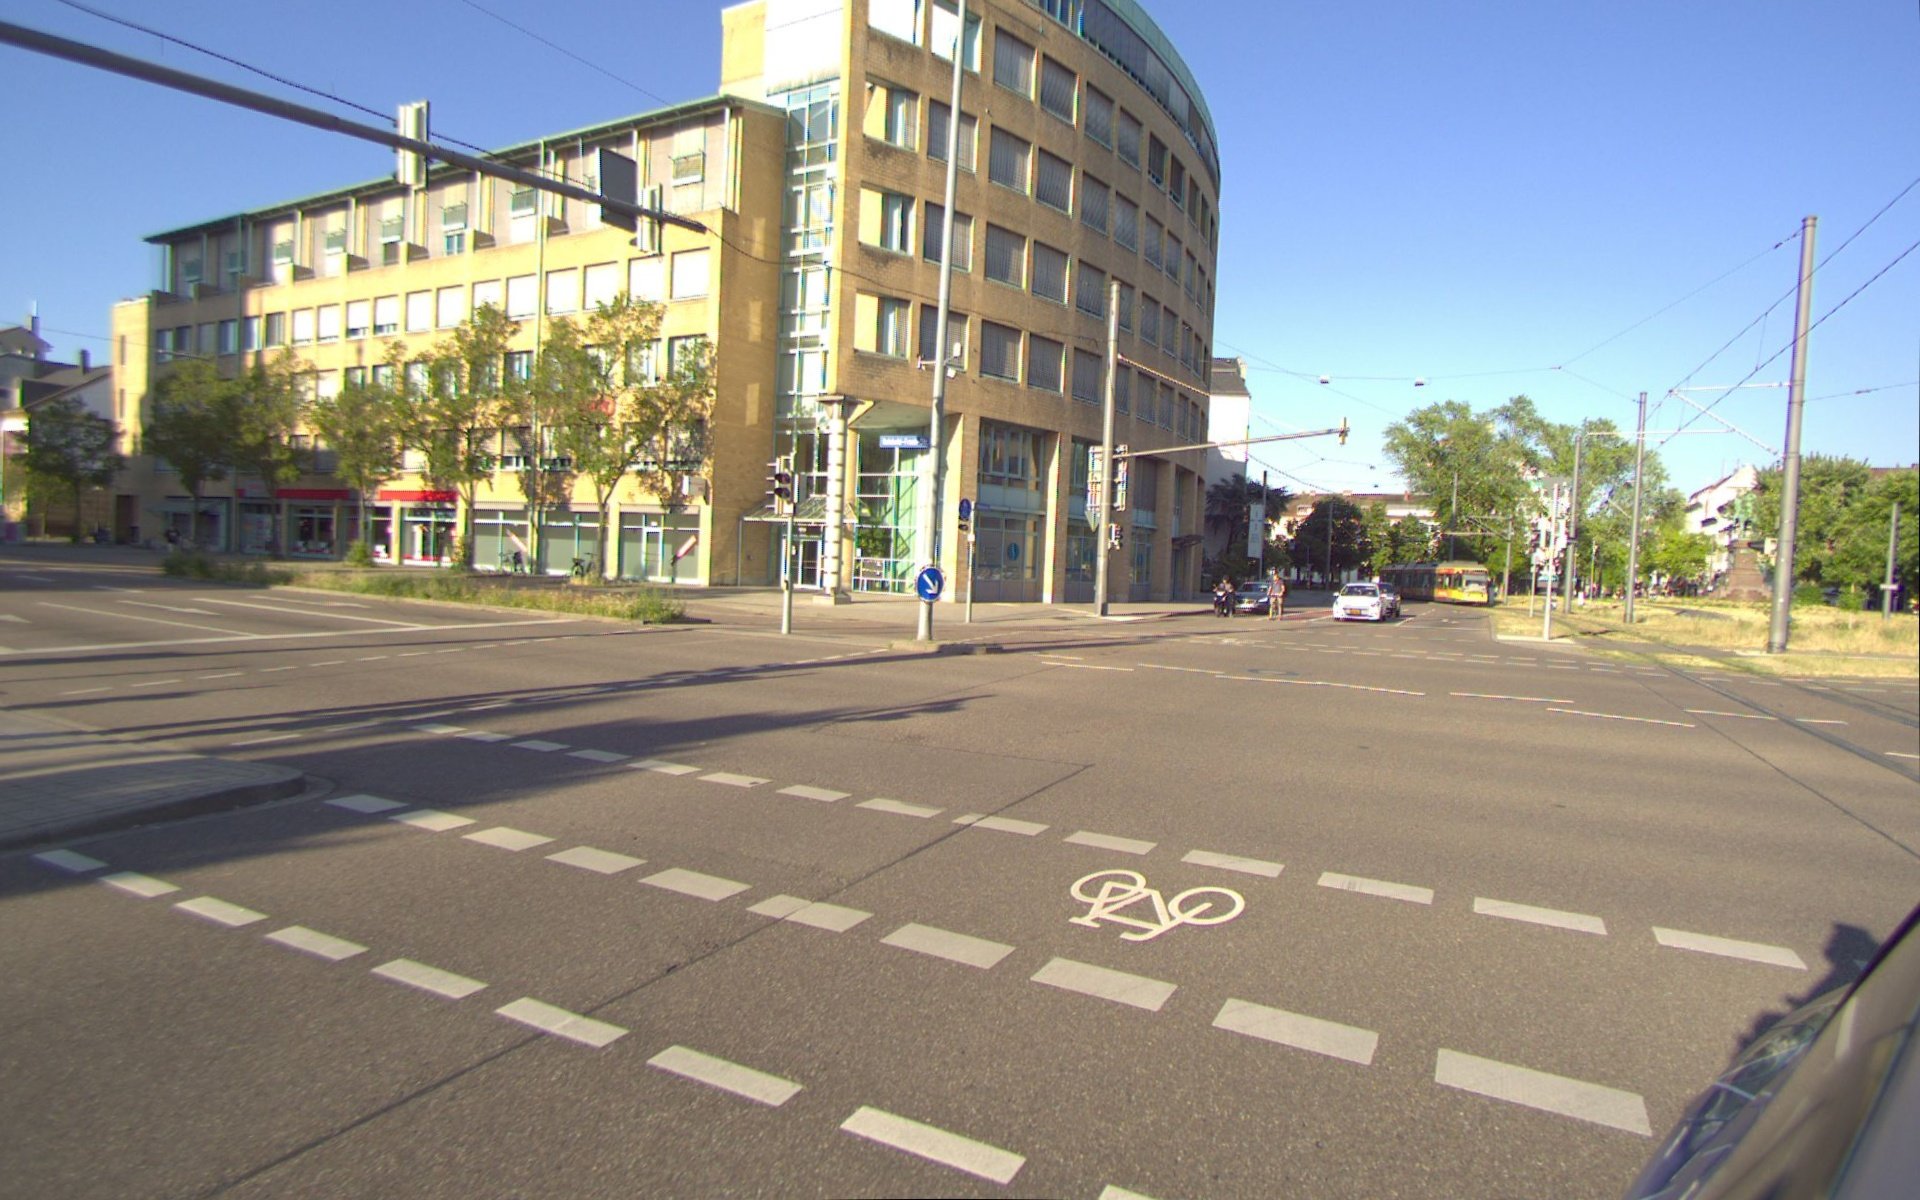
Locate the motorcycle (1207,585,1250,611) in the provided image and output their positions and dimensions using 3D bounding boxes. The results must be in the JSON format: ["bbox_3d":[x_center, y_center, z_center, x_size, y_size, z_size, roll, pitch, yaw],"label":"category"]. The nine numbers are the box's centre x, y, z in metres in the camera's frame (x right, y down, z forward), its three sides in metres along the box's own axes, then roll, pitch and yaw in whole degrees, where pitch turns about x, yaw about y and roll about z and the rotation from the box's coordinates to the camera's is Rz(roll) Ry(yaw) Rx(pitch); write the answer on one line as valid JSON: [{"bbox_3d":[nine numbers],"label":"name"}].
[{"bbox_3d":[10.765,-0.092,40.472,1.023,0.975,2.699,3,2,29],"label":"motorcycle"}]

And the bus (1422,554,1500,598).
[{"bbox_3d":[40.533,-2.027,82.303,2.372,3.249,11.091,3,2,9],"label":"bus"}]

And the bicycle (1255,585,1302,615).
[{"bbox_3d":[12.050,-0.026,38.221,1.144,1.012,2.941,4,3,28],"label":"bicycle"}]

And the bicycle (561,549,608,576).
[{"bbox_3d":[-15.466,-1.539,41.689,2.064,1.007,0.641,4,2,30],"label":"bicycle"}]

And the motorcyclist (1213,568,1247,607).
[{"bbox_3d":[10.789,-0.507,40.473,1.023,1.453,1.058,3,2,30],"label":"motorcyclist"}]

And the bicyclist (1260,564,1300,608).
[{"bbox_3d":[12.093,-0.538,38.247,1.144,1.591,1.215,4,2,29],"label":"bicyclist"}]

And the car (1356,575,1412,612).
[{"bbox_3d":[19.094,-0.307,45.485,1.805,1.510,4.023,3,2,29],"label":"car"}]

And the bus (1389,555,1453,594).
[{"bbox_3d":[42.265,-2.384,93.241,2.314,3.249,11.055,3,2,9],"label":"bus"}]

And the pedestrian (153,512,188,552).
[{"bbox_3d":[-40.856,-3.501,52.377,1.152,2.000,1.099,3,2,30],"label":"pedestrian"}]

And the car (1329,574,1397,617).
[{"bbox_3d":[15.681,-0.212,39.282,1.977,1.510,4.136,3,2,28],"label":"car"}]

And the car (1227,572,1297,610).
[{"bbox_3d":[13.608,-0.433,45.428,1.971,1.556,4.448,3,2,31],"label":"car"}]

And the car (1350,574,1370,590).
[{"bbox_3d":[46.885,-2.116,118.588,1.828,1.839,3.962,3,2,27],"label":"car"}]

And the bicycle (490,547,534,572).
[{"bbox_3d":[-19.513,-1.758,44.078,2.064,1.007,0.641,4,2,30],"label":"bicycle"}]
